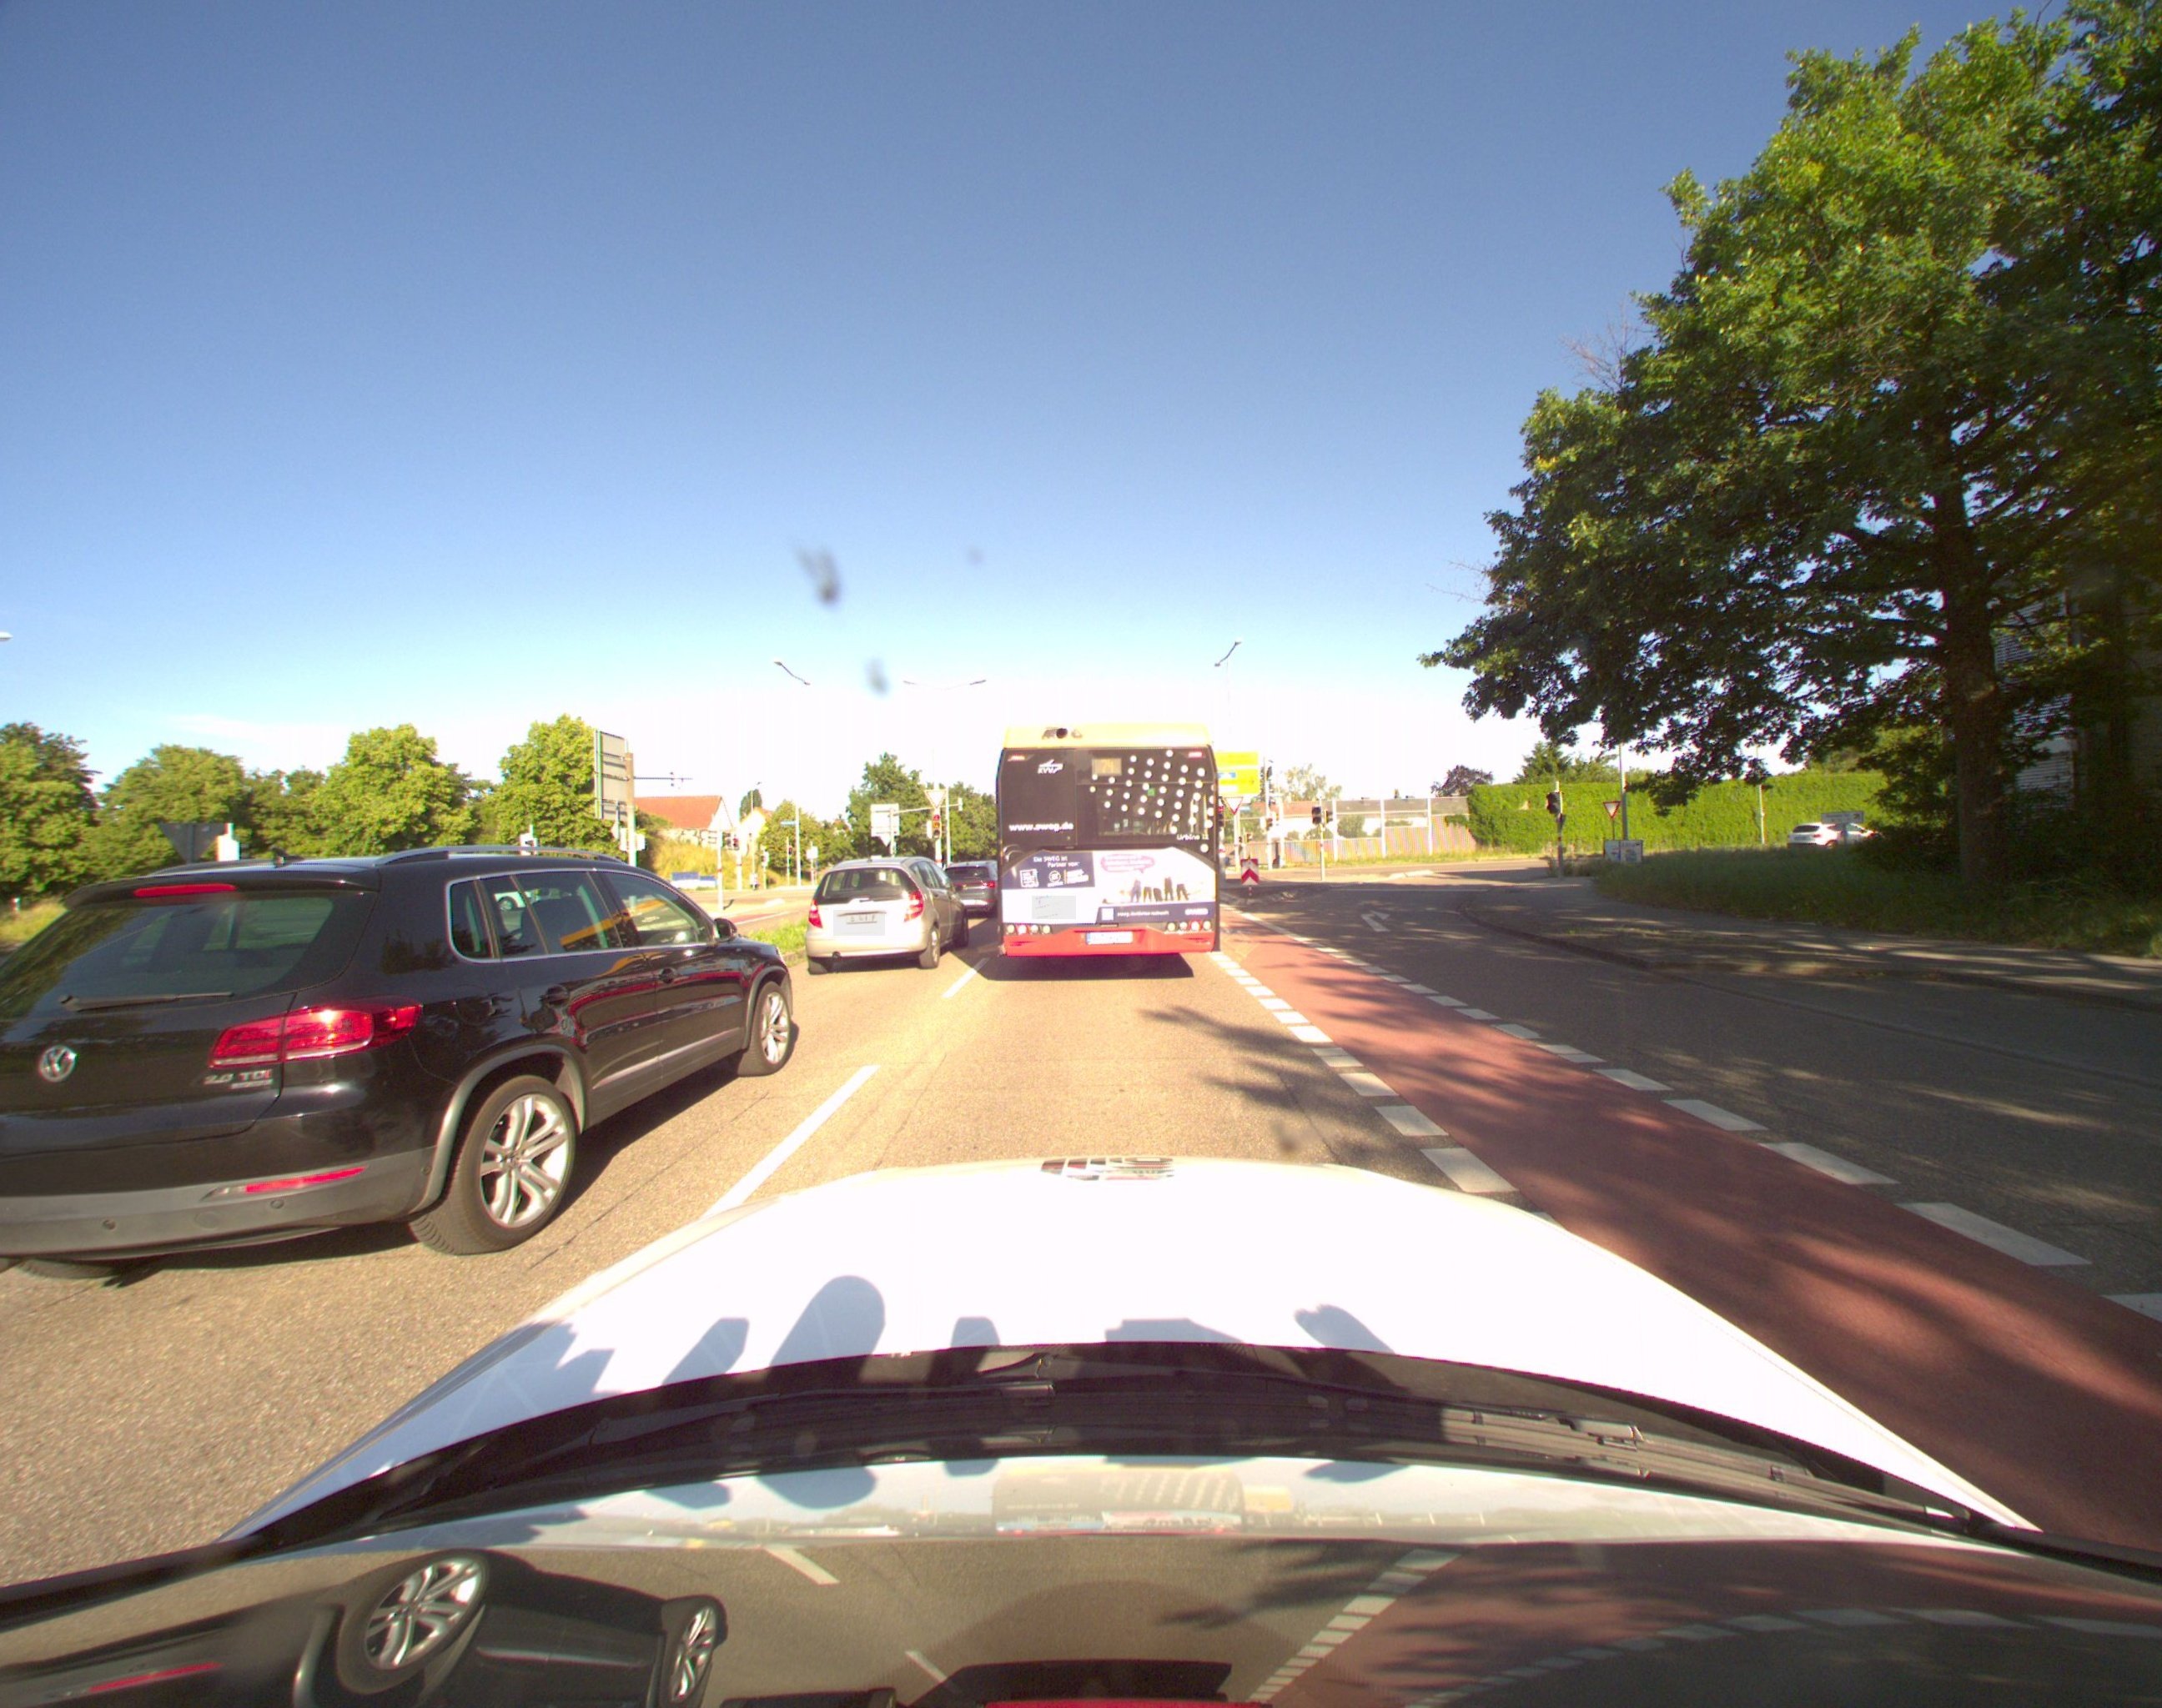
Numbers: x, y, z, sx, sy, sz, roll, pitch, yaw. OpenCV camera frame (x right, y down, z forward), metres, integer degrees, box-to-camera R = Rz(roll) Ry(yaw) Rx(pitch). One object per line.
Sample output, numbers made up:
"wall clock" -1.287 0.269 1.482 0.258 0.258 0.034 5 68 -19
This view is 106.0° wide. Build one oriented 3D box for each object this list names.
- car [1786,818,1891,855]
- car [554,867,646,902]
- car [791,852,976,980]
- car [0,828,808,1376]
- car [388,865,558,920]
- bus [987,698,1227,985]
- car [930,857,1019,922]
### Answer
"car" 37.184 -0.870 40.008 4.055 1.607 1.717 -3 1 -10
"car" -24.569 1.545 41.673 3.577 1.560 1.747 -2 0 -5
"car" -2.863 0.818 12.763 1.755 1.589 4.001 -3 0 1
"car" -3.168 0.800 4.555 1.766 1.653 4.001 -3 0 1
"car" -25.628 1.595 34.500 5.375 2.118 2.178 -1 -1 -4
"bus" 0.526 -0.164 15.020 2.632 3.167 11.867 -1 0 2
"car" -2.686 0.858 21.315 1.686 1.458 3.751 -3 0 1
